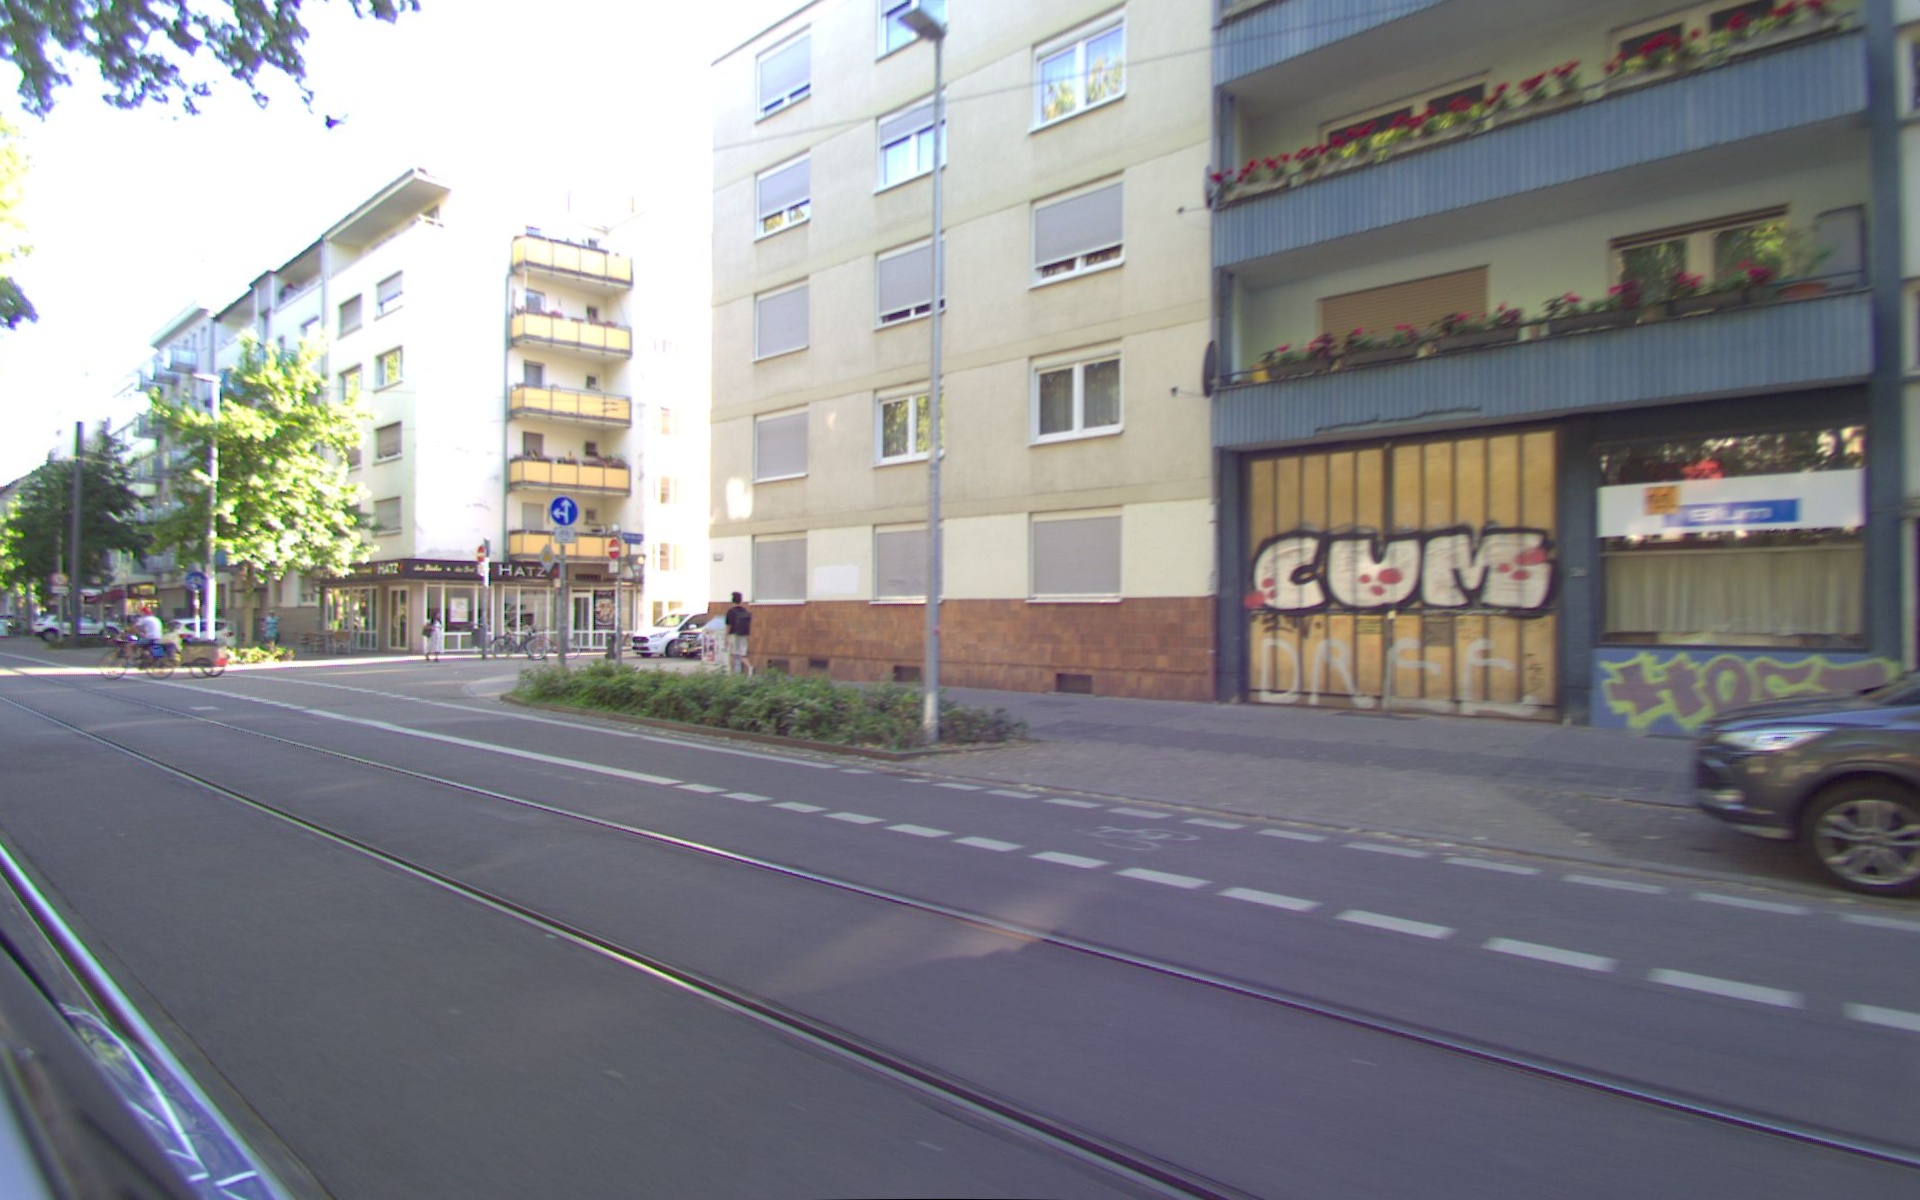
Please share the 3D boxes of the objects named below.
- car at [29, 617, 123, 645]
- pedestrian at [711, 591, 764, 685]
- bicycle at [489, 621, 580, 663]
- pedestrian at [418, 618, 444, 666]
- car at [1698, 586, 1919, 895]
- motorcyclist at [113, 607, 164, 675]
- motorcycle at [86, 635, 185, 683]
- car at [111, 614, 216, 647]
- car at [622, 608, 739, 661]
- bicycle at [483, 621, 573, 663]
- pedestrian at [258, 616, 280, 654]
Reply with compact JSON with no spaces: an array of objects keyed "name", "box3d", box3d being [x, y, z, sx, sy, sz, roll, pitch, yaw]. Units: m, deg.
[{"name":"car","box3d":[-50.355,1.732,57.702,1.587,1.535,3.899,-1,-2,44]},{"name":"pedestrian","box3d":[-4.658,0.778,21.181,0.762,1.913,0.800,-1,0,-41]},{"name":"bicycle","box3d":[-14.210,1.389,33.834,2.762,1.323,0.540,-1,0,-30]},{"name":"pedestrian","box3d":[-16.937,1.338,32.428,0.587,1.516,0.656,-1,0,-41]},{"name":"car","box3d":[6.968,0.776,5.678,4.485,1.751,1.762,-1,0,39]},{"name":"motorcyclist","box3d":[-19.831,0.982,24.435,0.744,1.630,0.590,0,-1,-7]},{"name":"motorcycle","box3d":[-19.882,1.412,24.428,1.803,1.127,0.591,0,-1,-7]},{"name":"car","box3d":[-39.133,1.488,49.786,1.587,1.535,3.899,-1,-2,44]},{"name":"car","box3d":[-10.092,1.222,36.761,1.648,1.807,3.950,-1,-1,37]},{"name":"bicycle","box3d":[-14.637,1.396,34.362,2.762,1.323,0.540,-1,0,-30]},{"name":"pedestrian","box3d":[-27.951,1.412,40.951,0.655,1.516,0.588,-1,0,41]}]
